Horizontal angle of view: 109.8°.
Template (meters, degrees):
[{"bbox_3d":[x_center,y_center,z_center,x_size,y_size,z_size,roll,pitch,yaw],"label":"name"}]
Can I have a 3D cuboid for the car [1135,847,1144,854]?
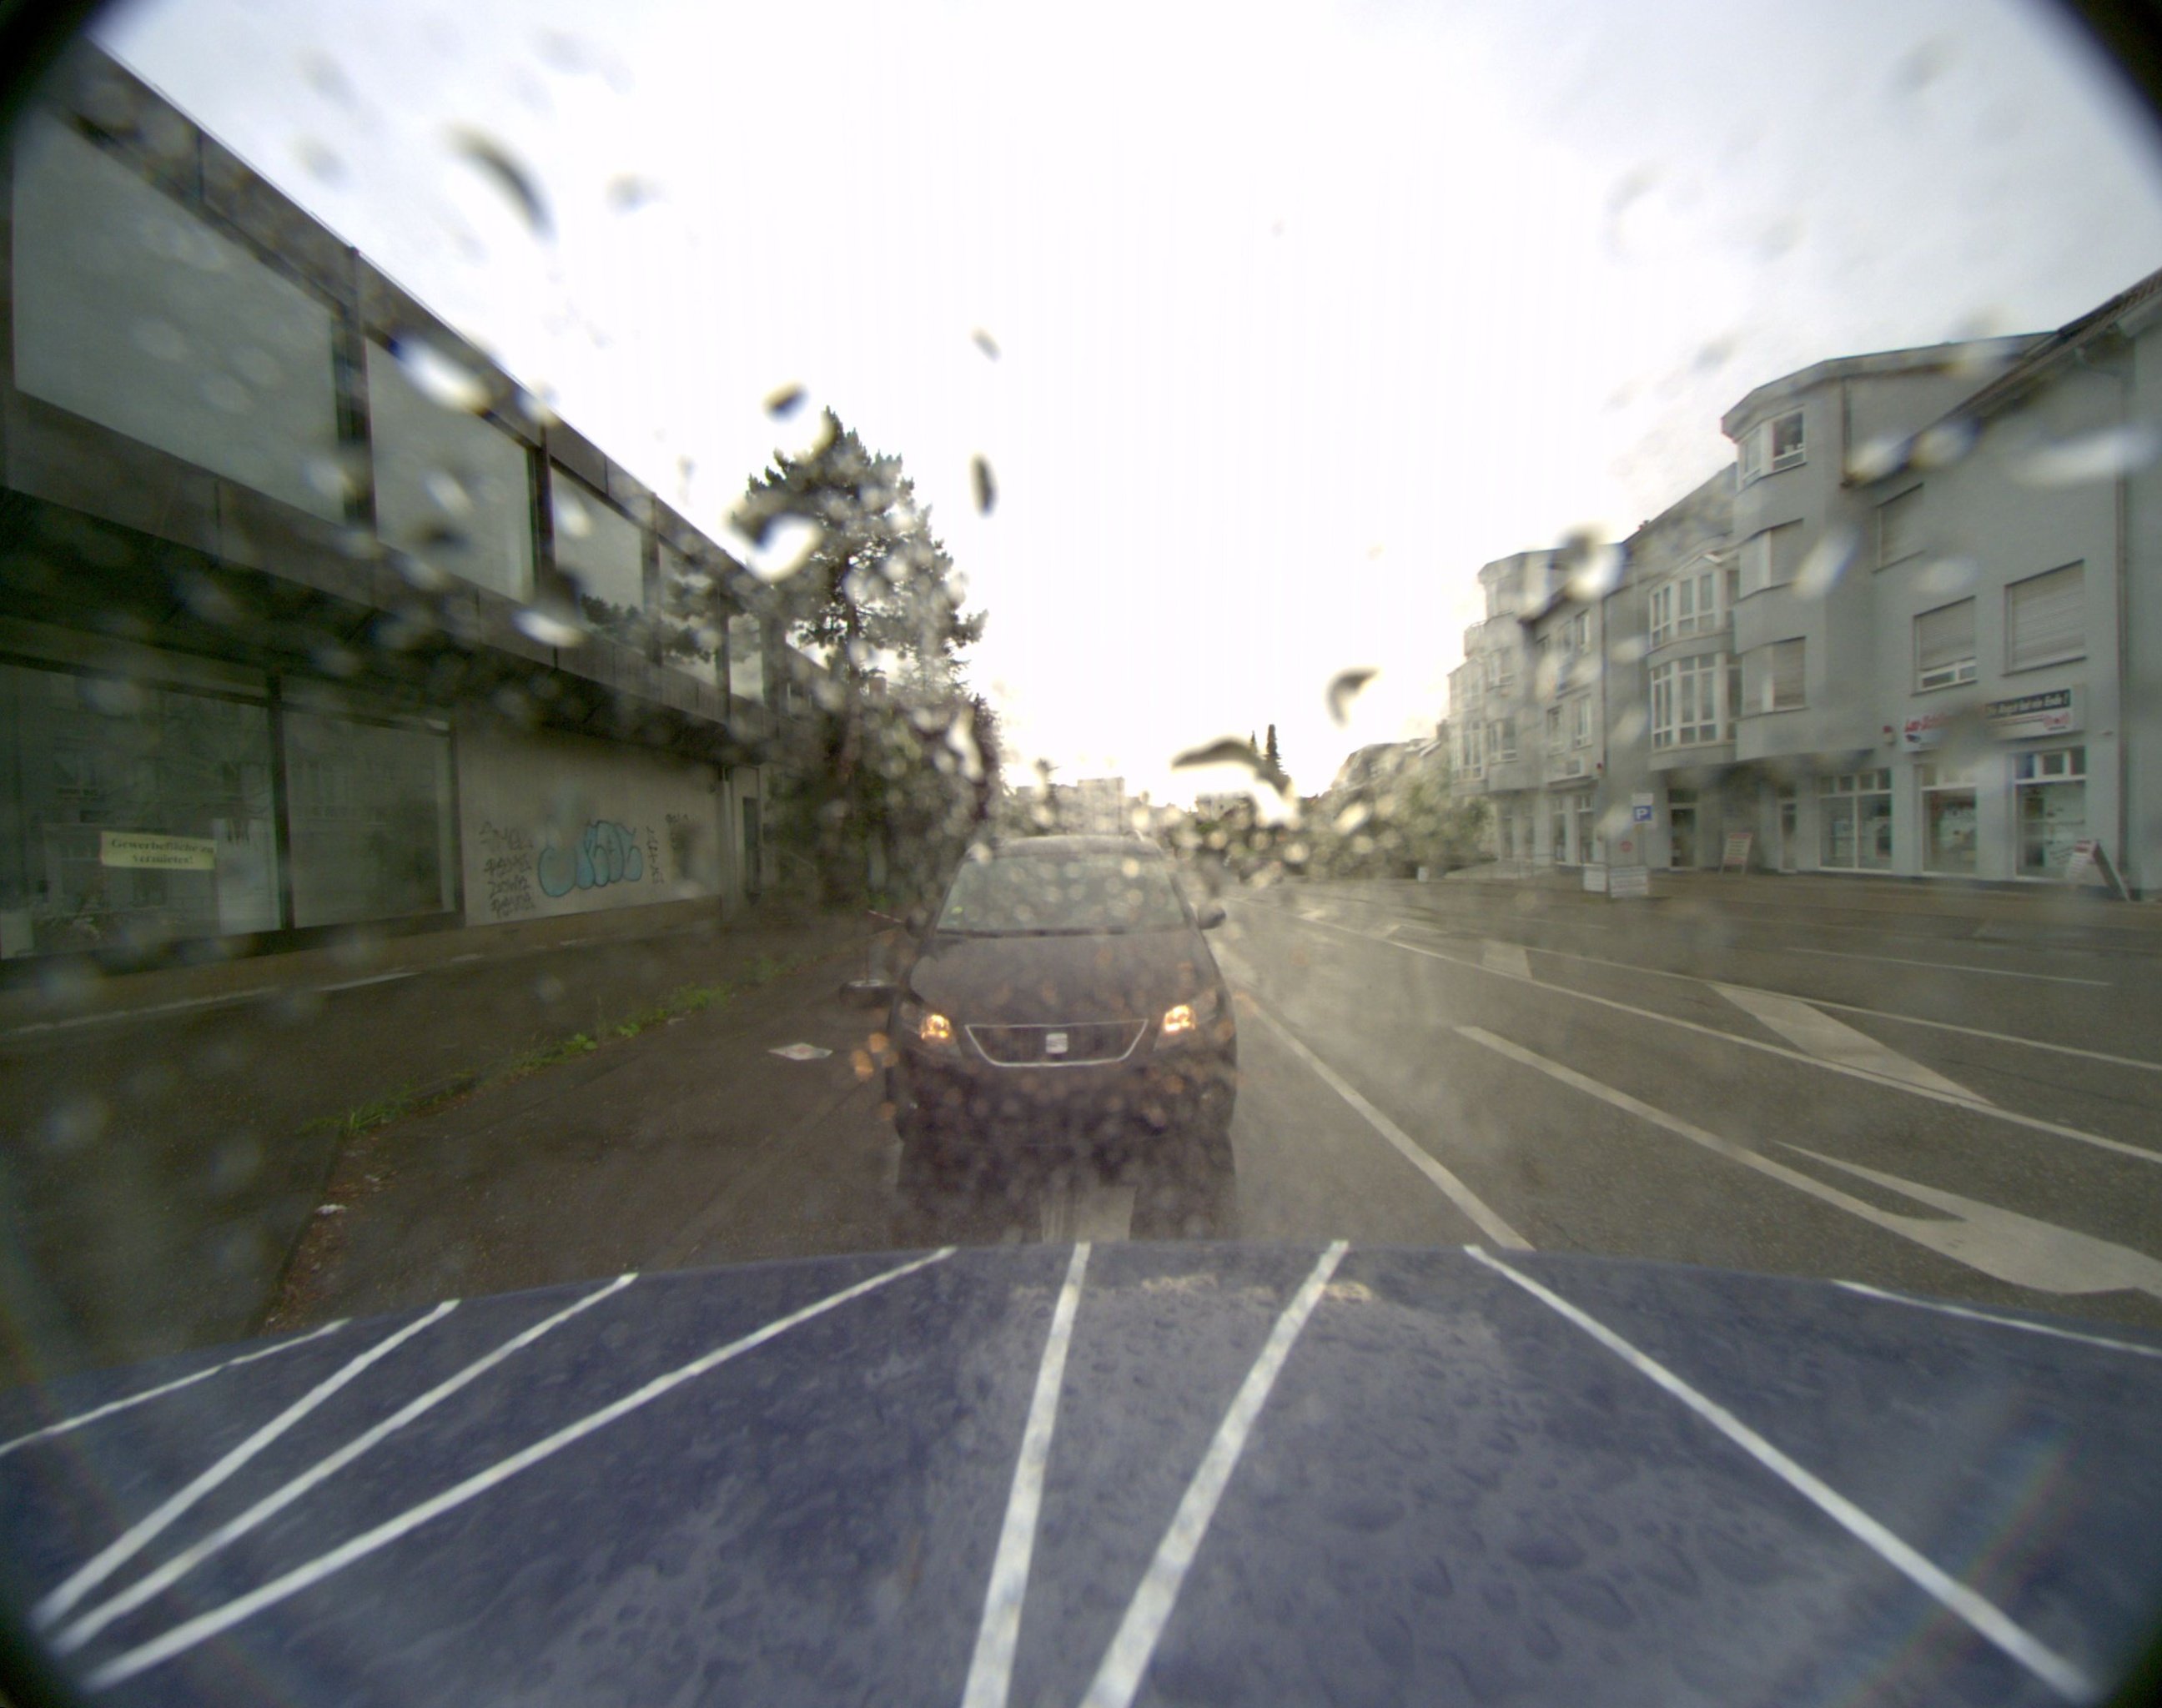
[{"bbox_3d":[15.589,-0.955,203.541,1.998,1.808,3.999,-2,1,1],"label":"car"}]

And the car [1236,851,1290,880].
[{"bbox_3d":[10.222,0.616,42.955,1.972,1.503,3.999,-2,1,-2],"label":"car"}]

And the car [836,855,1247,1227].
[{"bbox_3d":[-0.140,0.822,5.643,1.754,1.534,4.676,-1,1,1],"label":"car"}]

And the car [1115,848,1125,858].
[{"bbox_3d":[8.256,-0.225,161.134,1.998,1.808,3.999,-2,1,1],"label":"car"}]

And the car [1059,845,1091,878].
[{"bbox_3d":[-0.359,0.465,50.401,1.998,2.072,3.999,-2,1,1],"label":"car"}]

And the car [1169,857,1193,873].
[{"bbox_3d":[10.818,1.126,82.574,1.998,1.615,4.539,-2,0,1],"label":"car"}]

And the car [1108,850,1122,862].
[{"bbox_3d":[5.443,0.351,122.424,1.998,1.774,3.999,-2,1,1],"label":"car"}]

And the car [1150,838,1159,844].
[{"bbox_3d":[23.397,-4.052,241.757,1.996,1.808,4.003,-2,1,14],"label":"car"}]

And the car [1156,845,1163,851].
[{"bbox_3d":[23.685,-1.808,230.463,1.748,1.664,3.591,-2,1,1],"label":"car"}]

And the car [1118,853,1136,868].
[{"bbox_3d":[5.652,0.789,94.471,1.998,1.723,3.999,-2,1,1],"label":"car"}]

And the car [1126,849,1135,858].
[{"bbox_3d":[12.218,-0.155,187.827,1.998,2.002,3.999,-2,1,1],"label":"car"}]

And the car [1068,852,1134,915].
[{"bbox_3d":[0.587,0.818,23.209,1.803,1.675,3.999,-2,1,1],"label":"car"}]
